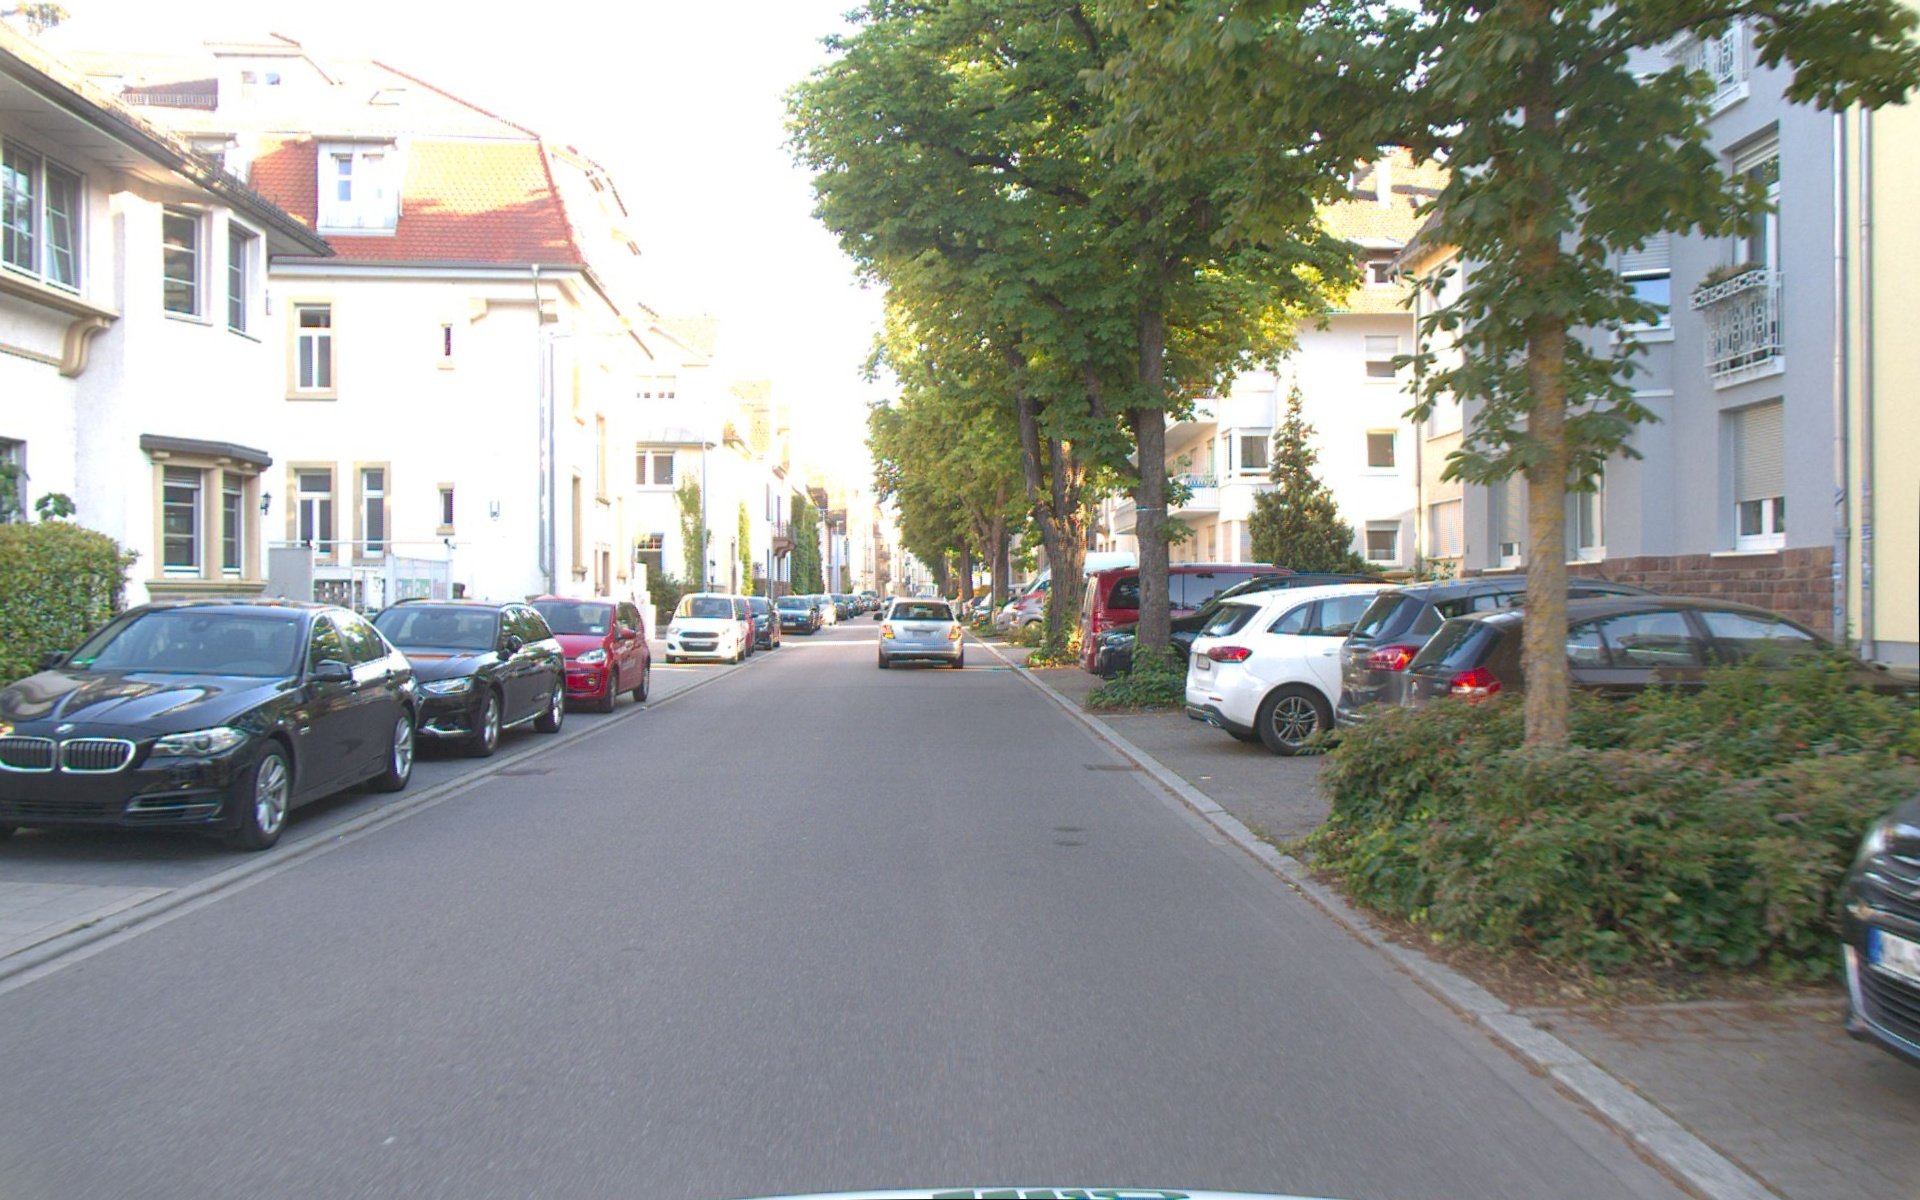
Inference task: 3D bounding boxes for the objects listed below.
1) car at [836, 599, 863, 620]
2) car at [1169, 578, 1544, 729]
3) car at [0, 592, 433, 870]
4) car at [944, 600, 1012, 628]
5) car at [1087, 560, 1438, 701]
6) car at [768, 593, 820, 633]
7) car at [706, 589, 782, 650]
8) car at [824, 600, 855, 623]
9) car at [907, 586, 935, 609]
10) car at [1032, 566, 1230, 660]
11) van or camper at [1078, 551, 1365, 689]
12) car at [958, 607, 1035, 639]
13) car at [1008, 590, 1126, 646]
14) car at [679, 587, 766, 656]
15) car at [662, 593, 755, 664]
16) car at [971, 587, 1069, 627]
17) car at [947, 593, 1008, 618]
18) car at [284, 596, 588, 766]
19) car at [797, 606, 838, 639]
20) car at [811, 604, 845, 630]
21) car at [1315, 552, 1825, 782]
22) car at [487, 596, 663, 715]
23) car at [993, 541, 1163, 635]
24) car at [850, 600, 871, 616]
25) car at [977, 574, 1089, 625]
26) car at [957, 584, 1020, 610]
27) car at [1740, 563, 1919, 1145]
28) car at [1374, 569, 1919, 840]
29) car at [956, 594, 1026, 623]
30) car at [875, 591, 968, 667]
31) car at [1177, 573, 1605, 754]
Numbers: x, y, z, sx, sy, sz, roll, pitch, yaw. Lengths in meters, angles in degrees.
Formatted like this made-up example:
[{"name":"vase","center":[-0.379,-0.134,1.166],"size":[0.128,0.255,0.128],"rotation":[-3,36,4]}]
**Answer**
[{"name":"car","center":[-7.785,0.669,116.789],"size":[1.763,1.411,3.605],"rotation":[0,0,-2]},{"name":"car","center":[4.370,0.572,18.541],"size":[3.738,1.595,1.741],"rotation":[0,0,-6]},{"name":"car","center":[-5.135,0.730,11.399],"size":[1.818,1.524,4.651],"rotation":[0,0,-4]},{"name":"car","center":[0.984,0.787,92.649],"size":[3.766,1.508,1.805],"rotation":[-1,0,-1]},{"name":"car","center":[4.141,0.407,23.160],"size":[4.532,1.869,1.953],"rotation":[0,0,-2]},{"name":"car","center":[-6.522,0.490,65.302],"size":[1.763,1.508,3.856],"rotation":[0,0,-2]},{"name":"car","center":[-6.097,0.522,47.044],"size":[1.763,1.673,3.856],"rotation":[0,0,-2]},{"name":"car","center":[-7.636,0.697,105.014],"size":[1.763,1.411,3.605],"rotation":[0,0,-2]},{"name":"car","center":[-2.674,-0.175,114.604],"size":[1.779,1.498,4.216],"rotation":[0,-1,1]},{"name":"car","center":[3.694,0.267,36.133],"size":[4.047,1.955,1.890],"rotation":[-1,0,-4]},{"name":"van or camper","center":[4.010,0.294,25.919],"size":[4.224,2.049,2.000],"rotation":[0,0,1]},{"name":"car","center":[1.802,1.153,82.244],"size":[3.766,1.508,1.805],"rotation":[-1,0,-1]},{"name":"car","center":[3.365,0.556,52.416],"size":[3.523,1.689,1.649],"rotation":[-1,0,-4]},{"name":"car","center":[-6.042,0.572,42.441],"size":[1.763,1.673,3.855],"rotation":[0,-1,-2]},{"name":"car","center":[-5.693,0.627,37.784],"size":[1.625,1.526,3.753],"rotation":[0,0,-1]},{"name":"car","center":[2.331,0.271,64.866],"size":[3.766,1.508,1.805],"rotation":[-1,0,-1]},{"name":"car","center":[1.078,0.360,103.837],"size":[3.766,1.508,1.805],"rotation":[-1,0,-1]},{"name":"car","center":[-5.241,0.744,17.240],"size":[1.747,1.524,4.698],"rotation":[0,0,-1]},{"name":"car","center":[-6.982,1.084,81.170],"size":[1.763,1.508,3.856],"rotation":[0,0,-2]},{"name":"car","center":[-7.569,0.958,95.314],"size":[1.763,1.411,3.605],"rotation":[0,0,-2]},{"name":"car","center":[4.831,0.501,13.417],"size":[3.476,1.683,1.724],"rotation":[-1,0,-3]},{"name":"car","center":[-5.243,0.714,22.968],"size":[1.625,1.514,3.753],"rotation":[0,0,-1]},{"name":"car","center":[3.921,-0.407,55.644],"size":[5.432,3.020,2.470],"rotation":[-1,0,-4]},{"name":"car","center":[-8.822,0.679,146.563],"size":[1.763,1.411,3.605],"rotation":[0,0,-2]},{"name":"car","center":[2.993,-0.025,68.651],"size":[4.429,2.049,2.250],"rotation":[-1,0,-4]},{"name":"car","center":[1.688,-0.209,99.499],"size":[3.766,1.508,1.805],"rotation":[-1,0,-1]},{"name":"car","center":[4.656,0.659,4.588],"size":[4.106,1.585,1.873],"rotation":[-1,0,-3]},{"name":"car","center":[4.844,0.614,10.830],"size":[3.844,1.585,1.726],"rotation":[-1,1,1]},{"name":"car","center":[1.691,0.469,90.239],"size":[3.766,1.508,1.805],"rotation":[-1,0,-1]},{"name":"car","center":[-0.747,0.597,34.683],"size":[1.779,1.498,4.216],"rotation":[0,-1,1]},{"name":"car","center":[4.068,0.575,15.991],"size":[3.656,1.585,1.724],"rotation":[-1,0,-3]}]
